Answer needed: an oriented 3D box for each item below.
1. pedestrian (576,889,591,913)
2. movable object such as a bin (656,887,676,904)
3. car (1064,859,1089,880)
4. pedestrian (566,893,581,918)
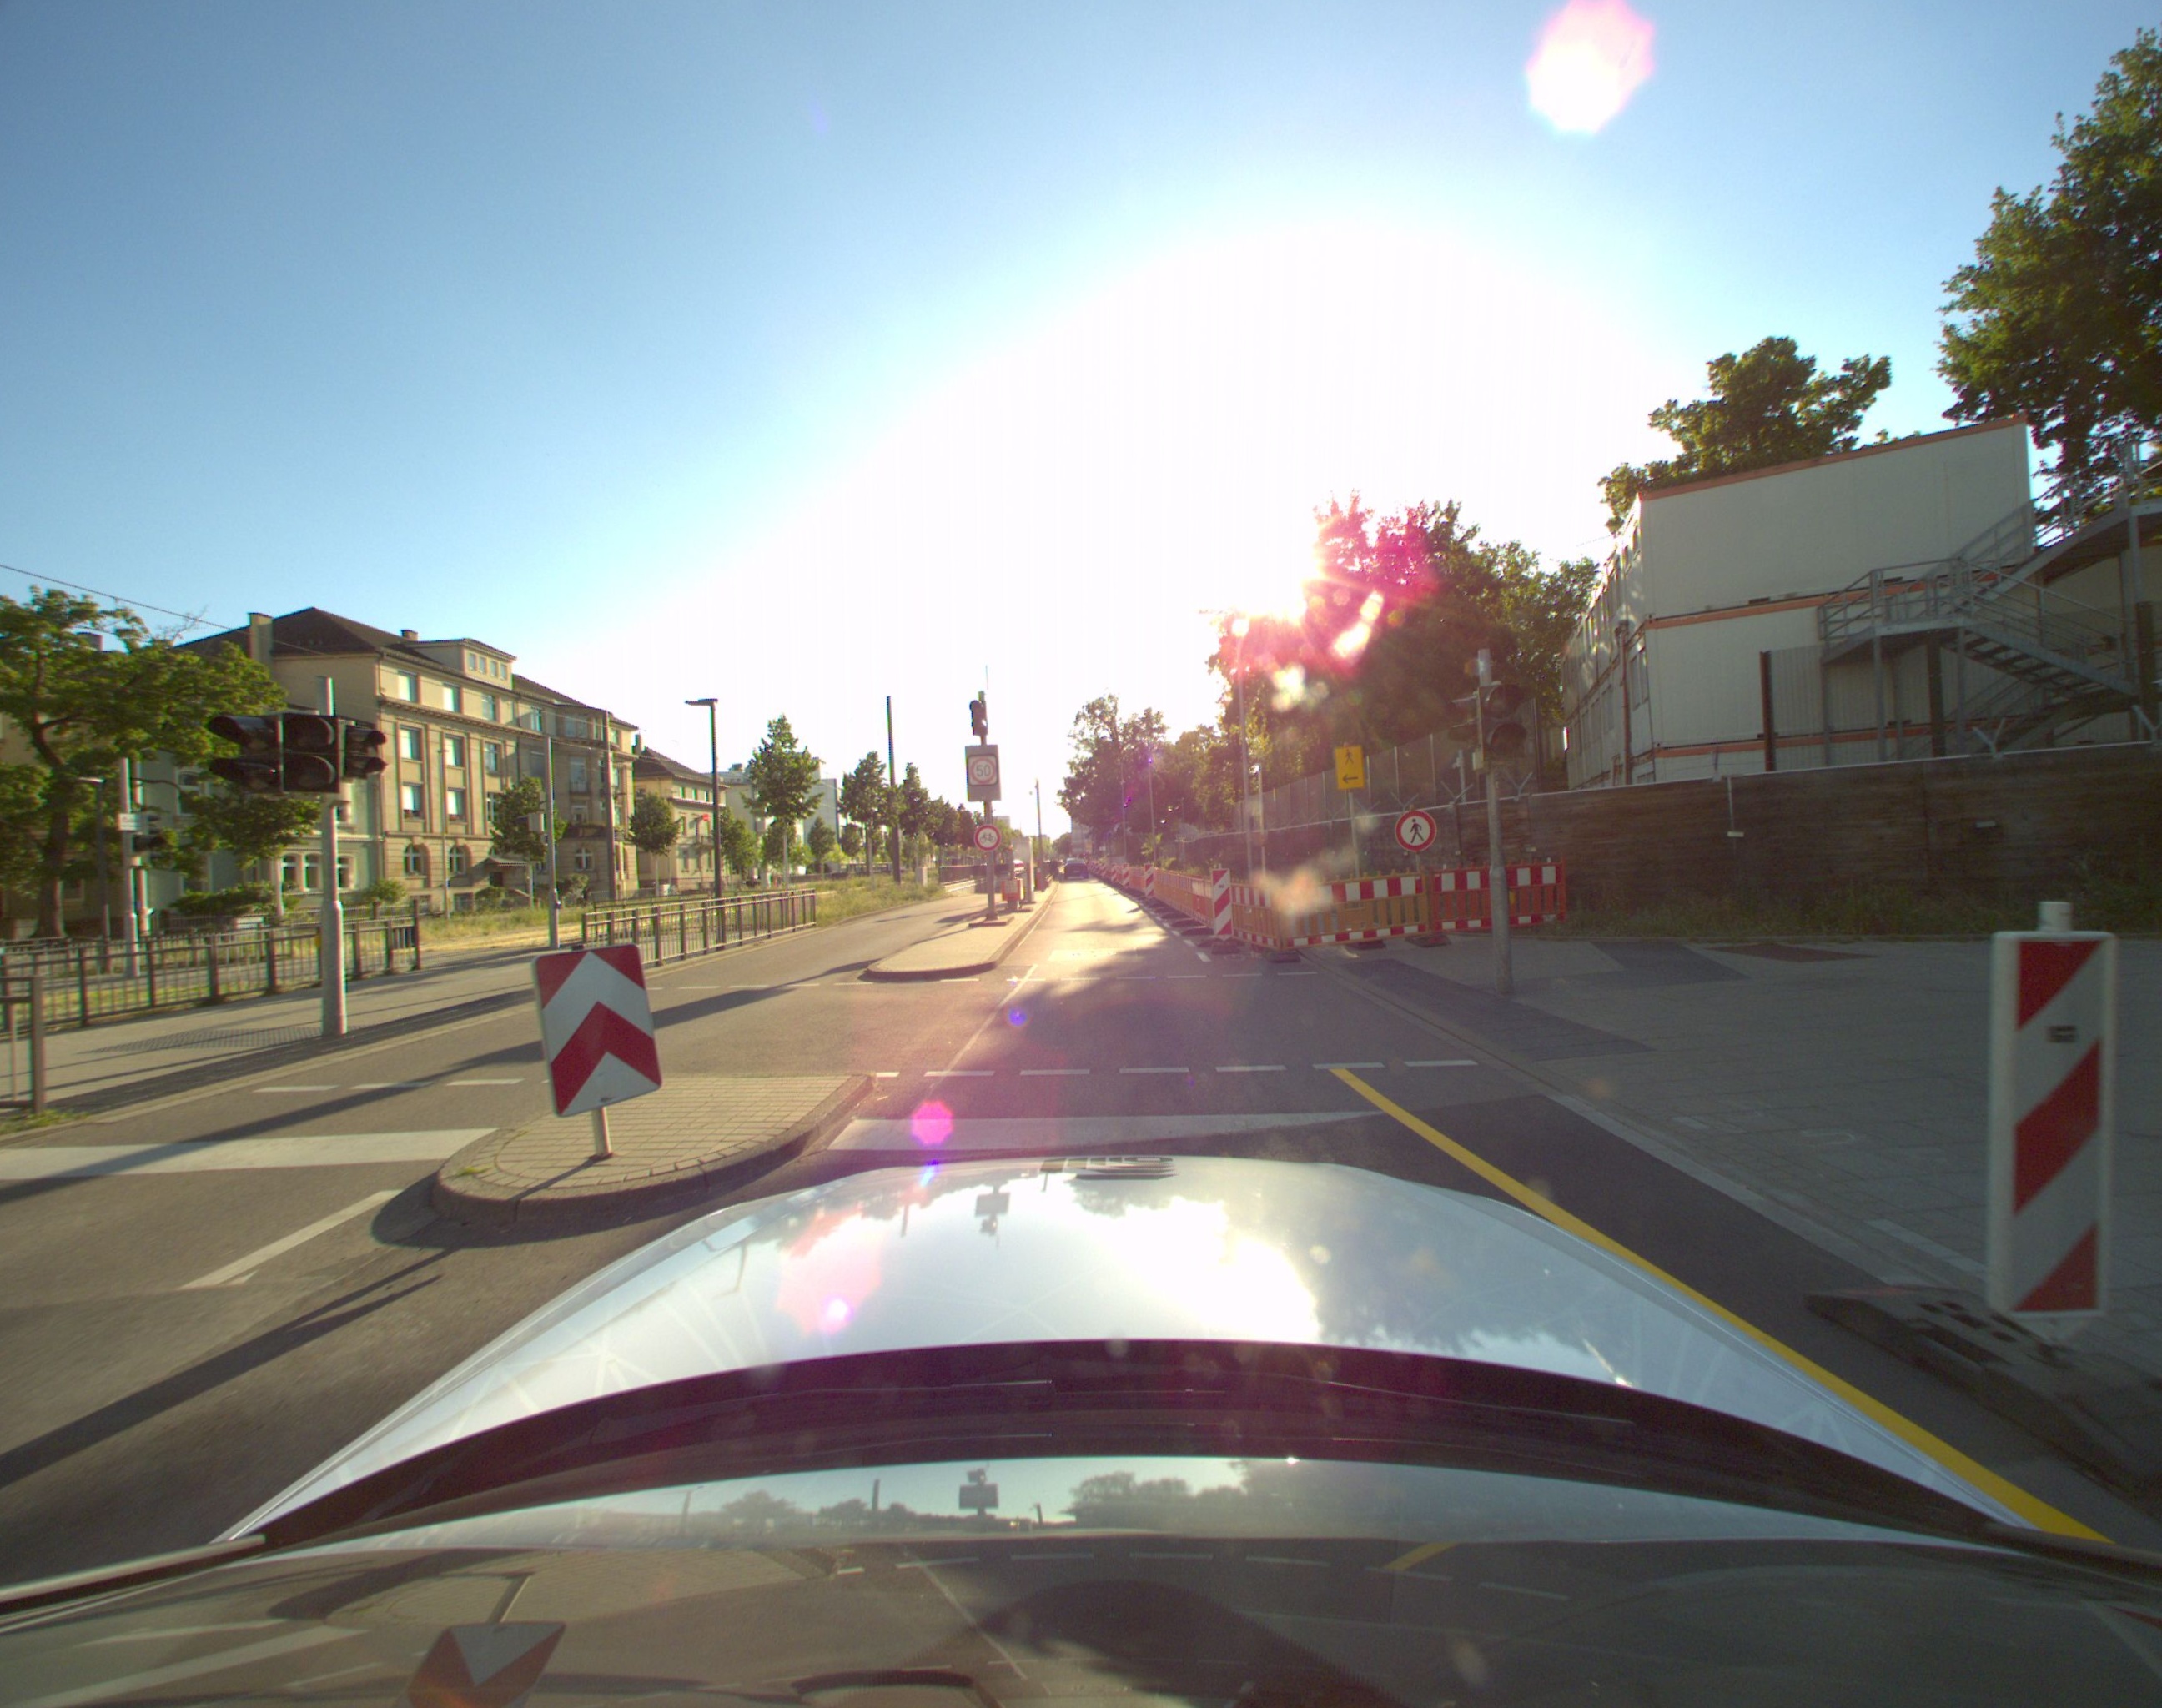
[{"bbox_3d":[-36.417,3.448,59.611,0.554,1.720,0.652,-3,-1,-1],"label":"pedestrian"},{"bbox_3d":[-38.204,3.857,75.053,1.202,1.429,1.079,-3,0,-1],"label":"movable object such as a bin"},{"bbox_3d":[-0.369,1.244,67.659,1.999,1.659,3.999,-1,-1,0],"label":"car"},{"bbox_3d":[-37.132,3.746,59.591,0.654,1.720,0.652,-3,-1,-1],"label":"pedestrian"}]
